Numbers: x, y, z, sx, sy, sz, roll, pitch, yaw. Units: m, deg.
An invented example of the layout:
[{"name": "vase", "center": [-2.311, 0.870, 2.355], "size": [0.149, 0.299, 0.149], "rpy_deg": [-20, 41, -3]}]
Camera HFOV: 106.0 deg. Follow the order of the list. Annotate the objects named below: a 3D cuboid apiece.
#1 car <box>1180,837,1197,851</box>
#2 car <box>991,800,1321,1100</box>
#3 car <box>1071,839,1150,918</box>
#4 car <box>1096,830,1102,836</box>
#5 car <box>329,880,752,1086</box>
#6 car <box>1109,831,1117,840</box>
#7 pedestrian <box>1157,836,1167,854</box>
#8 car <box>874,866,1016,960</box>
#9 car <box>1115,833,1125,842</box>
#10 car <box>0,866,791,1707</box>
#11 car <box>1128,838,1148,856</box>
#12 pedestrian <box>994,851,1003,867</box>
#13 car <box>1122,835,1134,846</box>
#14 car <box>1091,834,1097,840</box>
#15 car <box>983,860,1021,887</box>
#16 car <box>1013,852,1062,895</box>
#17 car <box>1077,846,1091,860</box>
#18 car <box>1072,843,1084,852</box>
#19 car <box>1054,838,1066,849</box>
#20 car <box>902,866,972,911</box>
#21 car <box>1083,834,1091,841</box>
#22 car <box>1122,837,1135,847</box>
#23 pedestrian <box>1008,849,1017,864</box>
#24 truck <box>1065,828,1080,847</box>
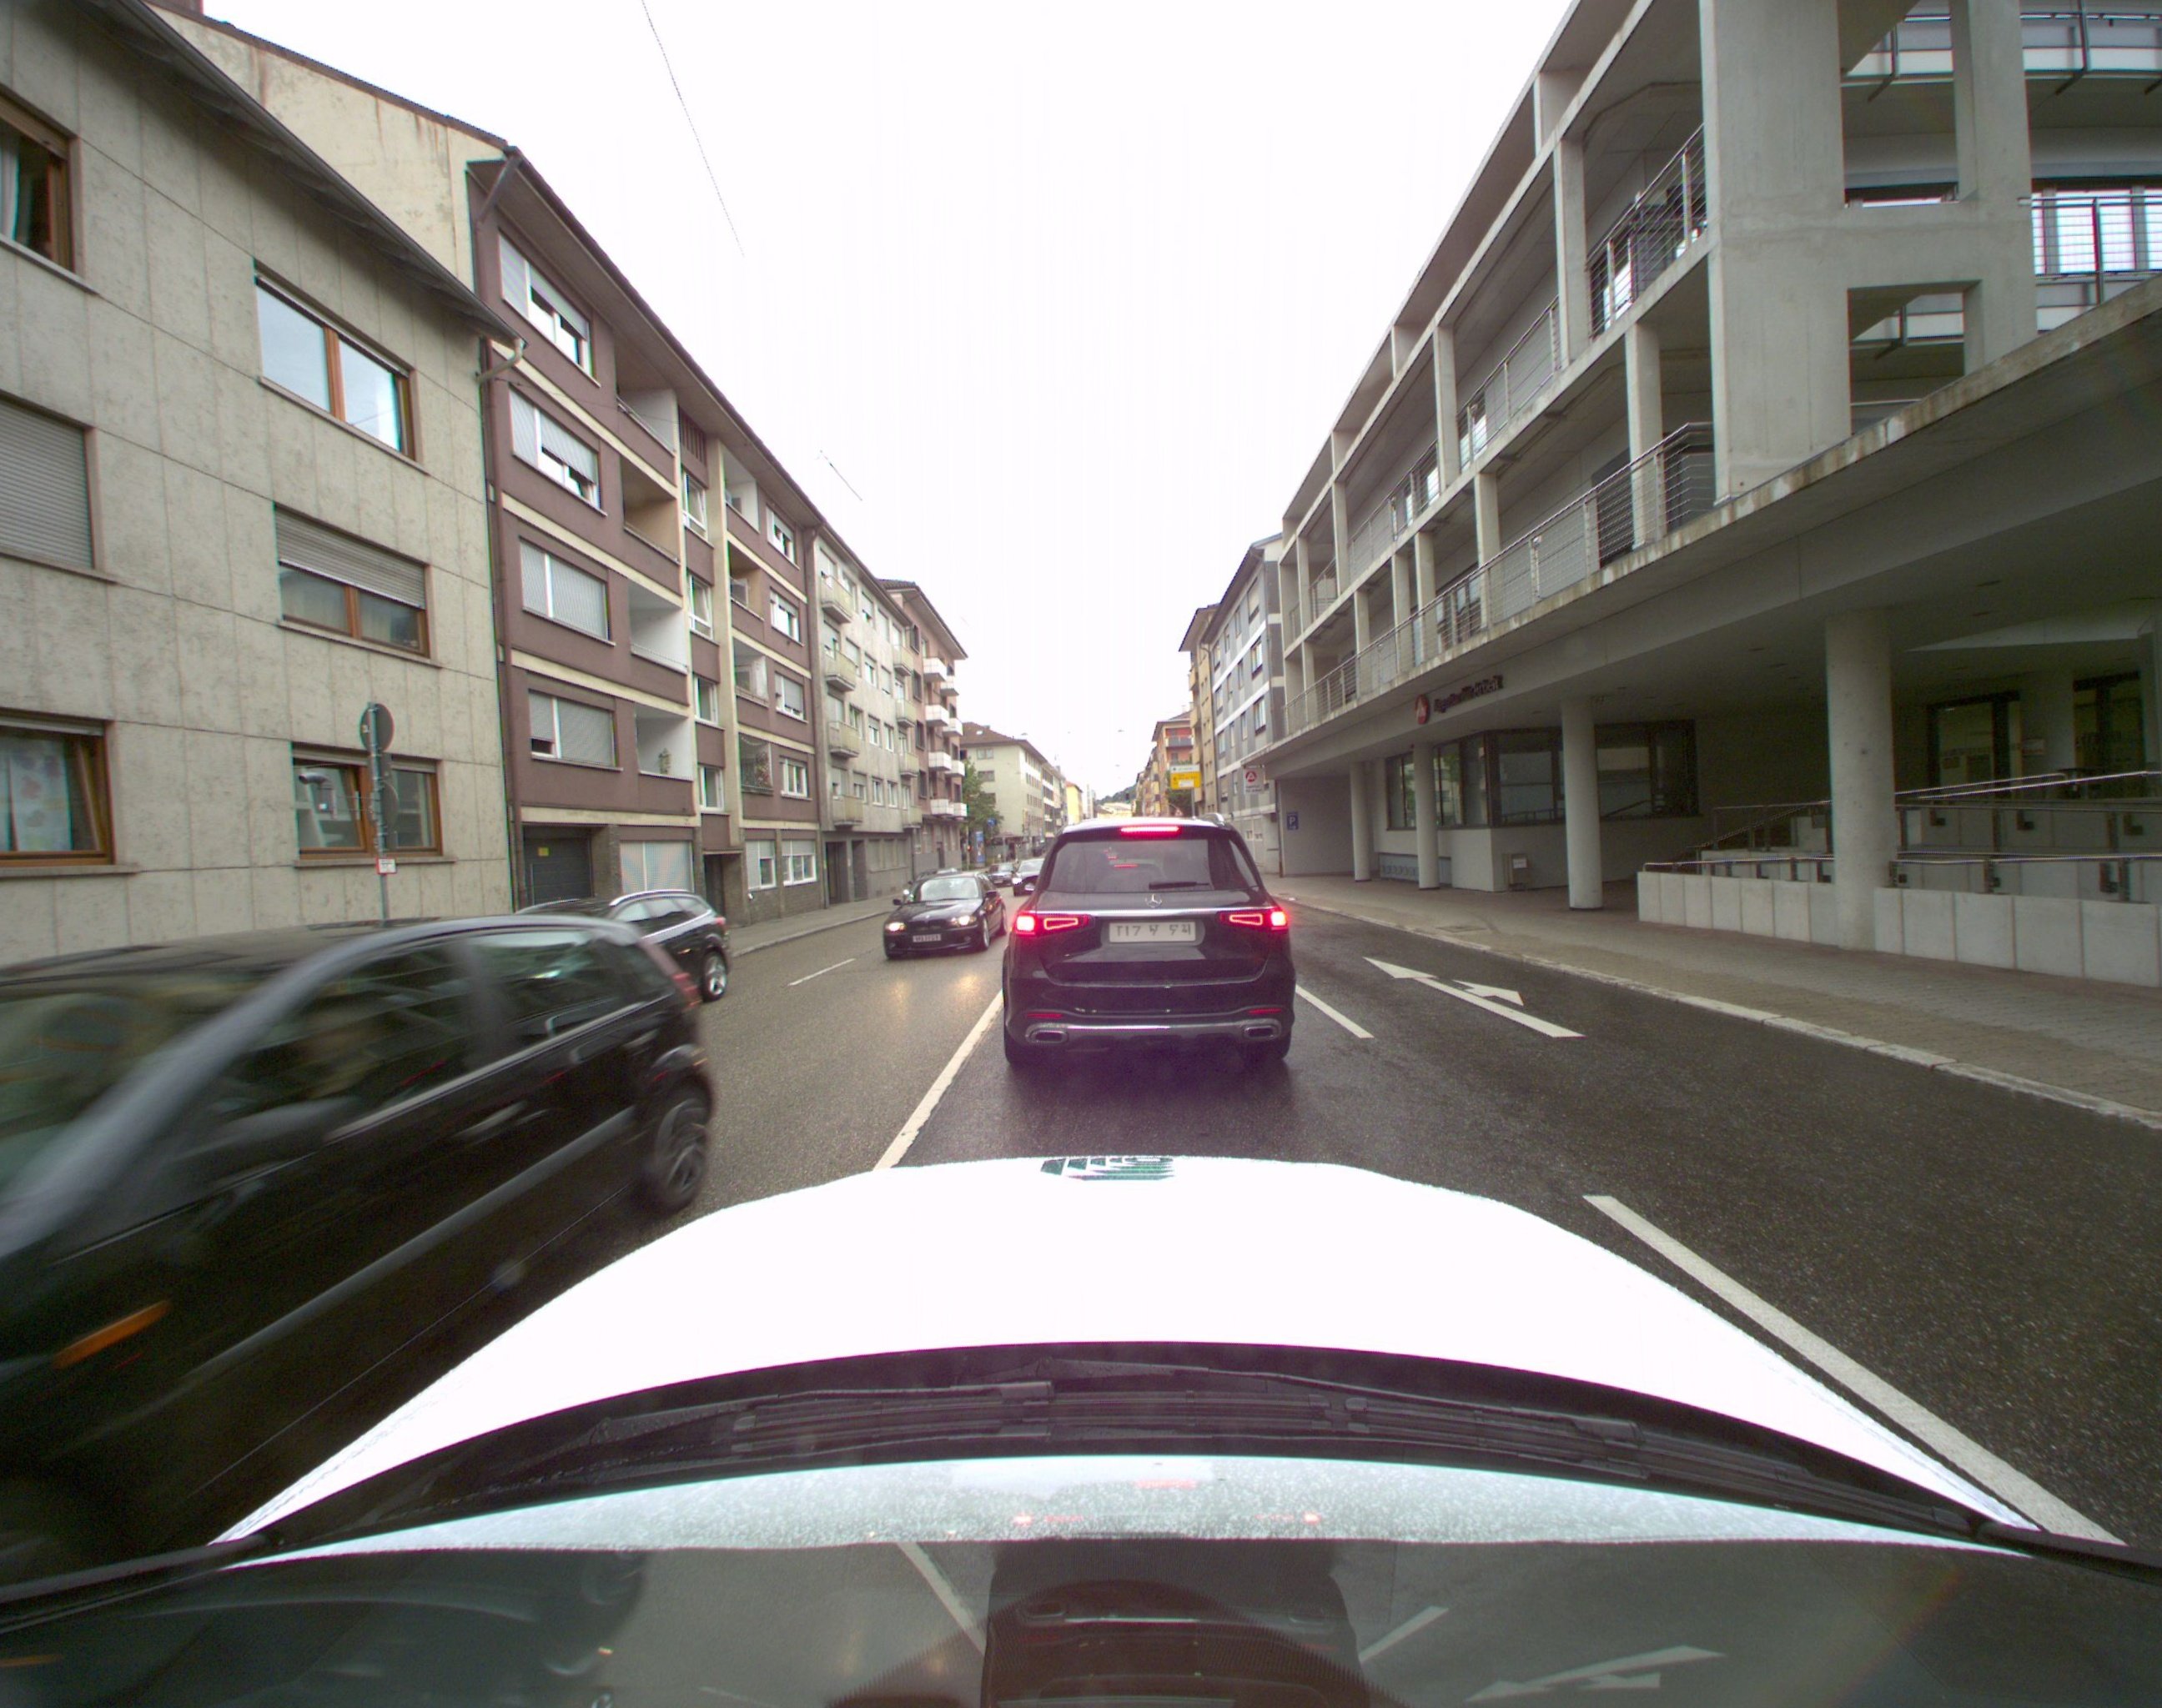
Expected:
[{"name": "car", "center": [12.488, -1.152, 94.530], "size": [1.664, 1.588, 3.334], "rpy_deg": [-3, 0, 4]}, {"name": "car", "center": [0.521, 0.600, 7.129], "size": [1.977, 1.805, 4.391], "rpy_deg": [0, -1, 2]}, {"name": "car", "center": [0.678, 0.588, 20.950], "size": [1.746, 1.731, 4.216], "rpy_deg": [-3, -1, 0]}, {"name": "car", "center": [5.558, -6.326, 250.474], "size": [1.613, 1.539, 4.216], "rpy_deg": [-5, -1, 0]}, {"name": "car", "center": [-5.548, 1.181, 9.216], "size": [1.717, 1.473, 4.374], "rpy_deg": [-5, 0, 0]}, {"name": "car", "center": [7.132, -4.104, 180.915], "size": [1.613, 1.539, 4.216], "rpy_deg": [-5, -1, 0]}, {"name": "pedestrian", "center": [9.280, -1.048, 93.293], "size": [0.920, 2.013, 0.706], "rpy_deg": [-3, 0, 0]}, {"name": "car", "center": [-2.364, 0.976, 15.260], "size": [1.688, 1.370, 4.220], "rpy_deg": [-5, -1, 2]}, {"name": "car", "center": [7.794, -3.205, 162.730], "size": [1.613, 1.539, 4.216], "rpy_deg": [-5, -1, 0]}, {"name": "car", "center": [-2.626, 0.882, 2.863], "size": [1.613, 1.539, 4.216], "rpy_deg": [-5, -1, 0]}, {"name": "car", "center": [6.221, -0.726, 89.048], "size": [1.718, 1.759, 4.216], "rpy_deg": [-5, -1, 0]}, {"name": "pedestrian", "center": [-9.360, 0.608, 92.536], "size": [0.631, 1.764, 0.776], "rpy_deg": [-3, 0, 14]}, {"name": "car", "center": [7.887, -2.200, 136.394], "size": [1.613, 1.539, 4.216], "rpy_deg": [-5, -1, 0]}, {"name": "car", "center": [3.475, -4.596, 219.532], "size": [1.613, 1.539, 4.216], "rpy_deg": [-5, -1, 0]}, {"name": "car", "center": [-4.580, 1.108, 47.523], "size": [1.593, 1.370, 4.362], "rpy_deg": [-6, 0, 1]}, {"name": "car", "center": [-1.807, 0.816, 35.118], "size": [1.689, 1.580, 4.218], "rpy_deg": [-5, -1, 1]}, {"name": "car", "center": [0.394, -0.117, 101.423], "size": [1.613, 1.539, 4.216], "rpy_deg": [-5, -1, 0]}, {"name": "car", "center": [-0.460, -0.989, 127.005], "size": [1.879, 1.264, 4.216], "rpy_deg": [-5, -1, 0]}, {"name": "car", "center": [-3.377, -1.681, 131.940], "size": [1.613, 1.539, 4.216], "rpy_deg": [-5, -1, 0]}, {"name": "car", "center": [-5.253, 1.226, 30.197], "size": [1.689, 1.370, 4.366], "rpy_deg": [-5, -1, 0]}, {"name": "car", "center": [1.463, -3.913, 193.963], "size": [1.613, 1.539, 4.216], "rpy_deg": [-5, -1, 0]}, {"name": "car", "center": [7.279, -1.852, 124.565], "size": [1.613, 1.387, 4.216], "rpy_deg": [-5, -1, 0]}, {"name": "pedestrian", "center": [-8.589, 0.310, 102.301], "size": [0.920, 1.902, 0.706], "rpy_deg": [-3, 0, 0]}, {"name": "truck", "center": [-1.590, -3.141, 157.364], "size": [2.472, 3.046, 9.917], "rpy_deg": [-4, -1, 0]}]
